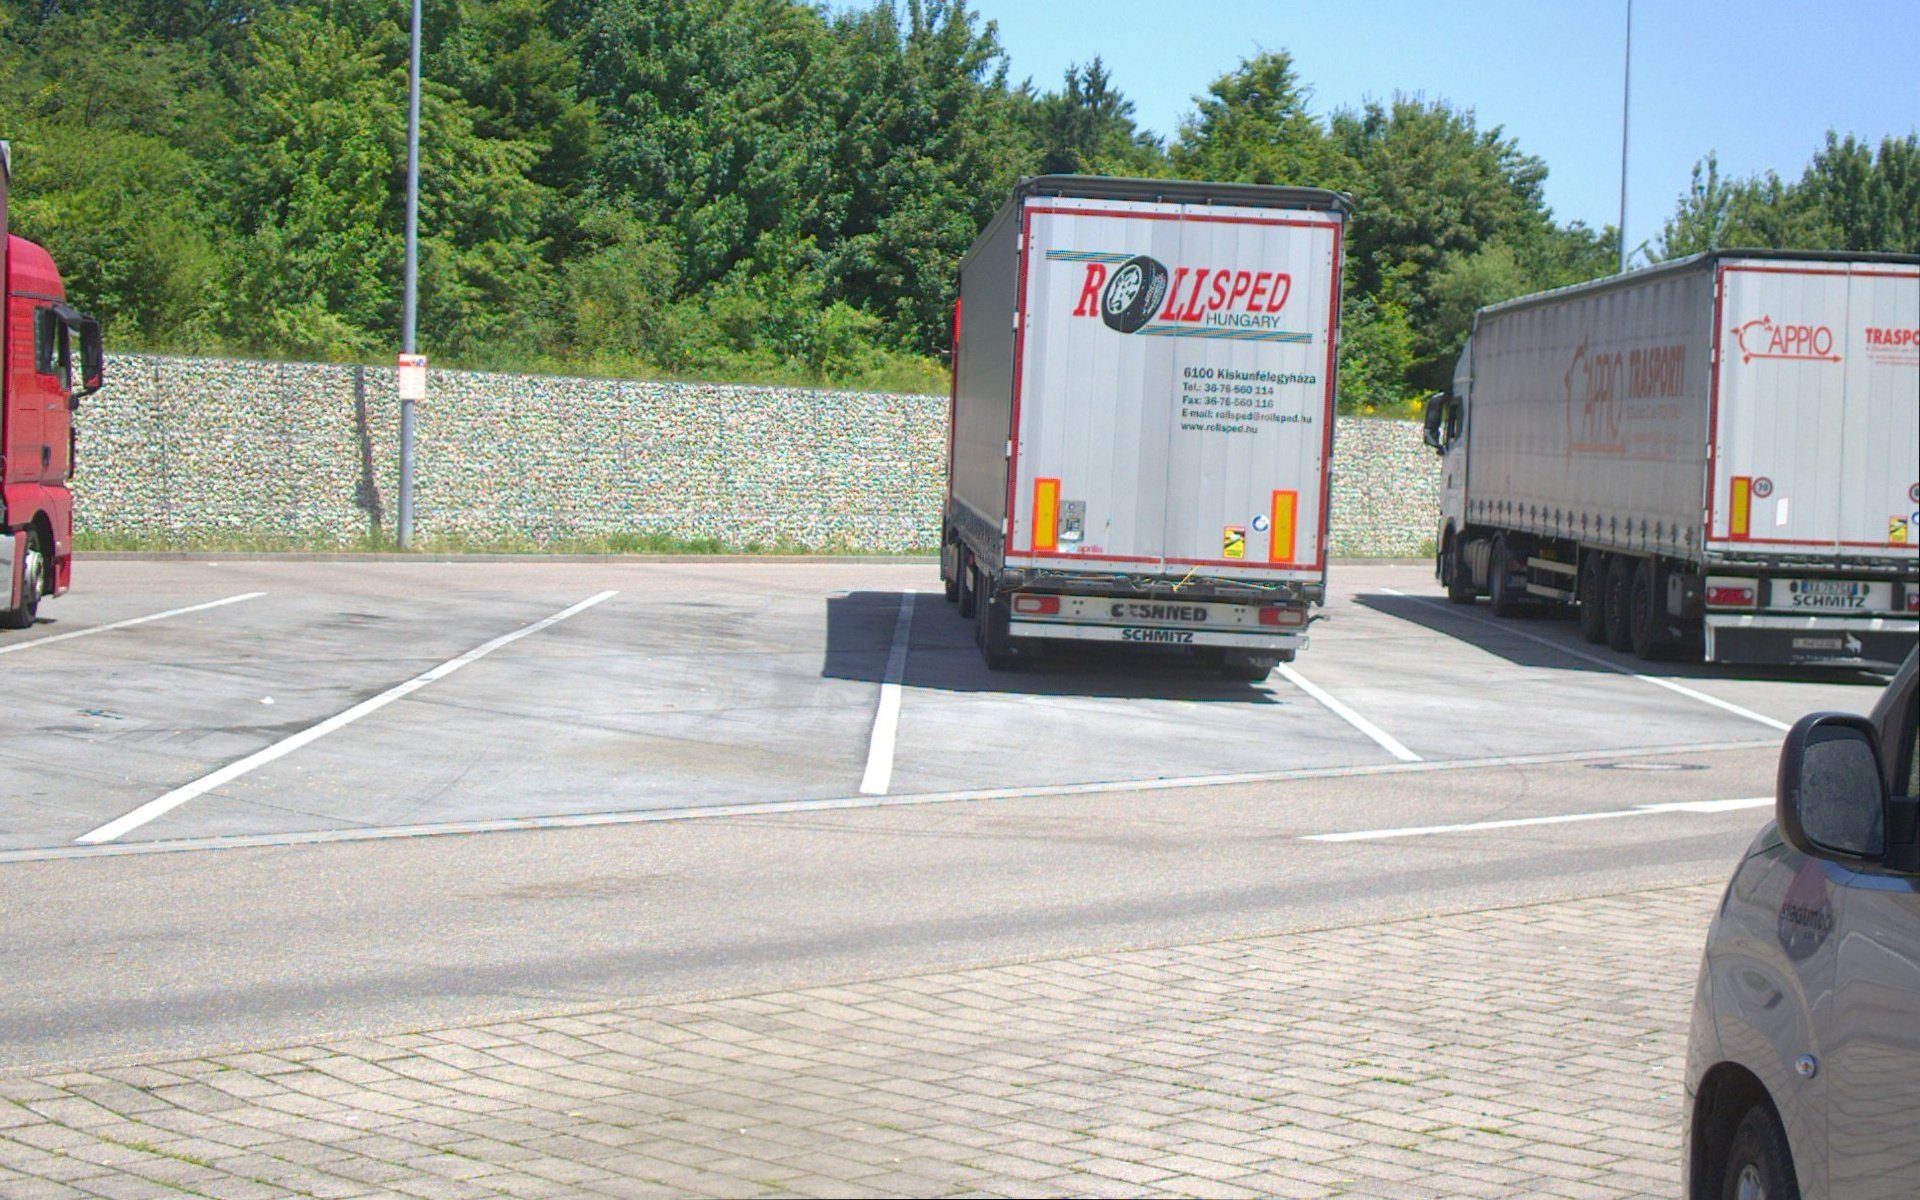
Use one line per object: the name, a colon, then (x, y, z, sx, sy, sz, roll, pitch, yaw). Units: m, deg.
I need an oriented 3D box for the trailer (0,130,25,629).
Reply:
trailer: (-9.182, -1.490, 21.560, 2.791, 4.071, 14.133, 2, 3, -1)

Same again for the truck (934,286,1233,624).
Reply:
truck: (1.326, -1.736, 40.501, 3.103, 3.554, 5.900, 2, 3, -1)

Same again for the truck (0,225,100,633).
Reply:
truck: (-9.225, -1.446, 28.134, 2.851, 3.316, 5.900, 2, 3, -1)

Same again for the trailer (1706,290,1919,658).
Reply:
trailer: (11.770, -1.456, 39.771, 2.811, 3.976, 14.396, 2, 3, -1)

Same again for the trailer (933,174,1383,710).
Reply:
trailer: (1.462, -1.594, 33.609, 3.133, 3.976, 14.397, 2, 3, -1)

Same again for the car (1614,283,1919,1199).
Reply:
car: (2.159, 0.584, 3.840, 1.869, 1.857, 4.177, 2, 2, -2)

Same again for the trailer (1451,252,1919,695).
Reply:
trailer: (8.129, -1.523, 38.720, 2.811, 3.976, 14.396, 2, 3, -1)

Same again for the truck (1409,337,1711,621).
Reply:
truck: (8.038, -1.700, 46.820, 2.862, 3.509, 5.900, 2, 3, -1)
